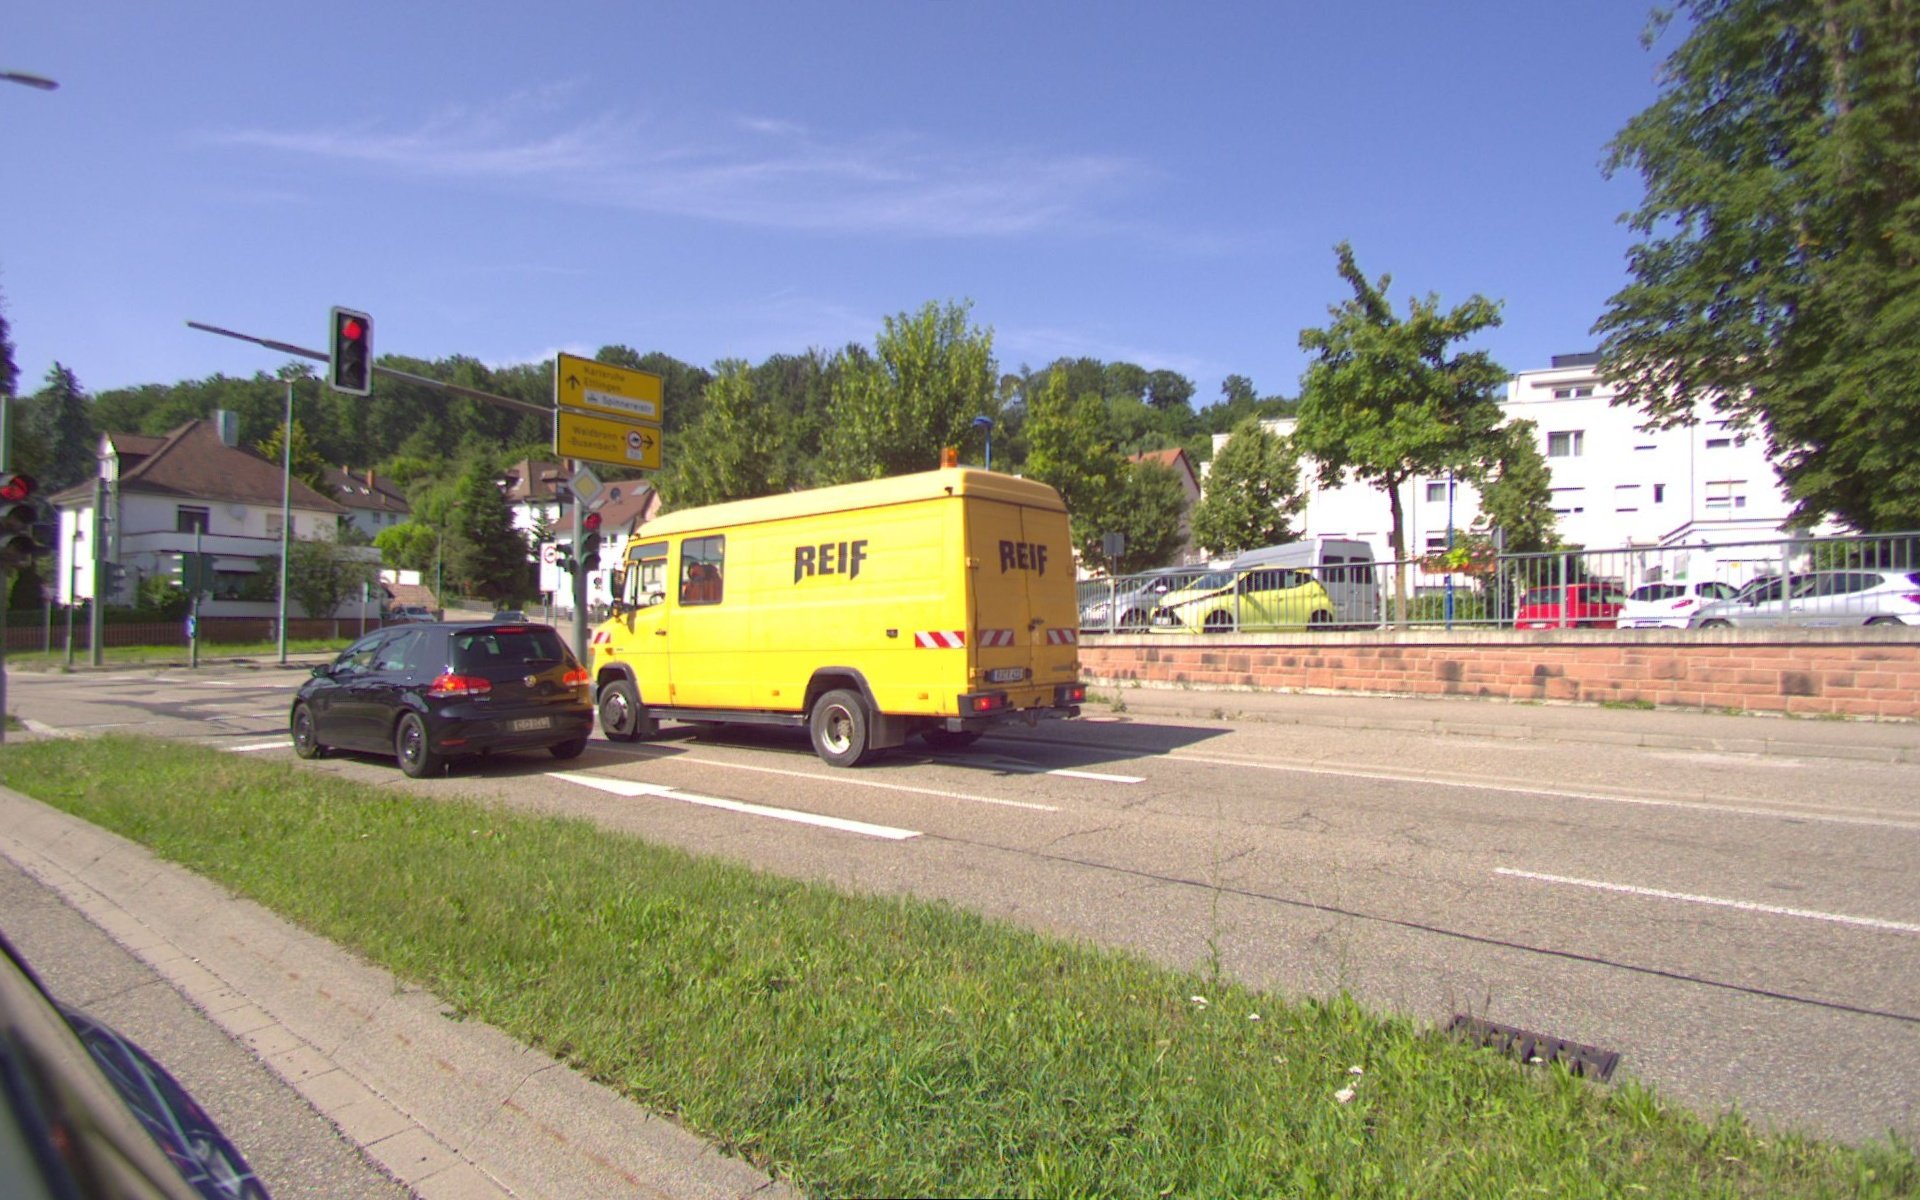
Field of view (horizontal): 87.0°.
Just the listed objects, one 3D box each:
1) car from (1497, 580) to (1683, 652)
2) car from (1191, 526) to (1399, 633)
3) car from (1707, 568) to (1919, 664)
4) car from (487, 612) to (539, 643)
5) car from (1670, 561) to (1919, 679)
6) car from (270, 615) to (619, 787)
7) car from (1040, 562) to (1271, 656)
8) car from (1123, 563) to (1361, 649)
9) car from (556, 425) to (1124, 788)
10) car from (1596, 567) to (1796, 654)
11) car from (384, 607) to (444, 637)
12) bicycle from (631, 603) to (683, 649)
[{"bbox_3d":[15.754,0.386,25.326,3.931,1.571,1.920,-2,-1,-21],"label":"car"},{"bbox_3d":[8.550,-0.442,26.579,2.064,2.462,5.802,-2,0,-17],"label":"car"},{"bbox_3d":[17.347,0.279,20.190,3.931,1.684,2.006,-2,0,-19],"label":"car"},{"bbox_3d":[-23.529,1.466,53.434,1.947,1.495,4.765,-2,-1,-17],"label":"car"},{"bbox_3d":[14.877,0.338,17.345,1.888,1.803,4.013,0,-1,-21],"label":"car"},{"bbox_3d":[-5.509,0.926,10.631,4.037,1.474,1.729,-2,-2,38],"label":"car"},{"bbox_3d":[4.167,0.158,21.662,4.339,1.709,2.064,-3,1,-21],"label":"car"},{"bbox_3d":[5.326,0.098,19.215,3.931,1.392,1.920,-2,0,-21],"label":"car"},{"bbox_3d":[-1.629,0.095,11.401,6.456,3.033,2.444,-1,0,38],"label":"car"},{"bbox_3d":[16.786,0.229,23.095,3.931,1.714,1.920,-3,-1,-24],"label":"car"},{"bbox_3d":[-33.083,1.352,61.255,3.999,1.649,1.914,-3,-1,42],"label":"car"},{"bbox_3d":[-9.314,0.807,31.075,1.756,1.265,0.612,-5,1,42],"label":"bicycle"}]
